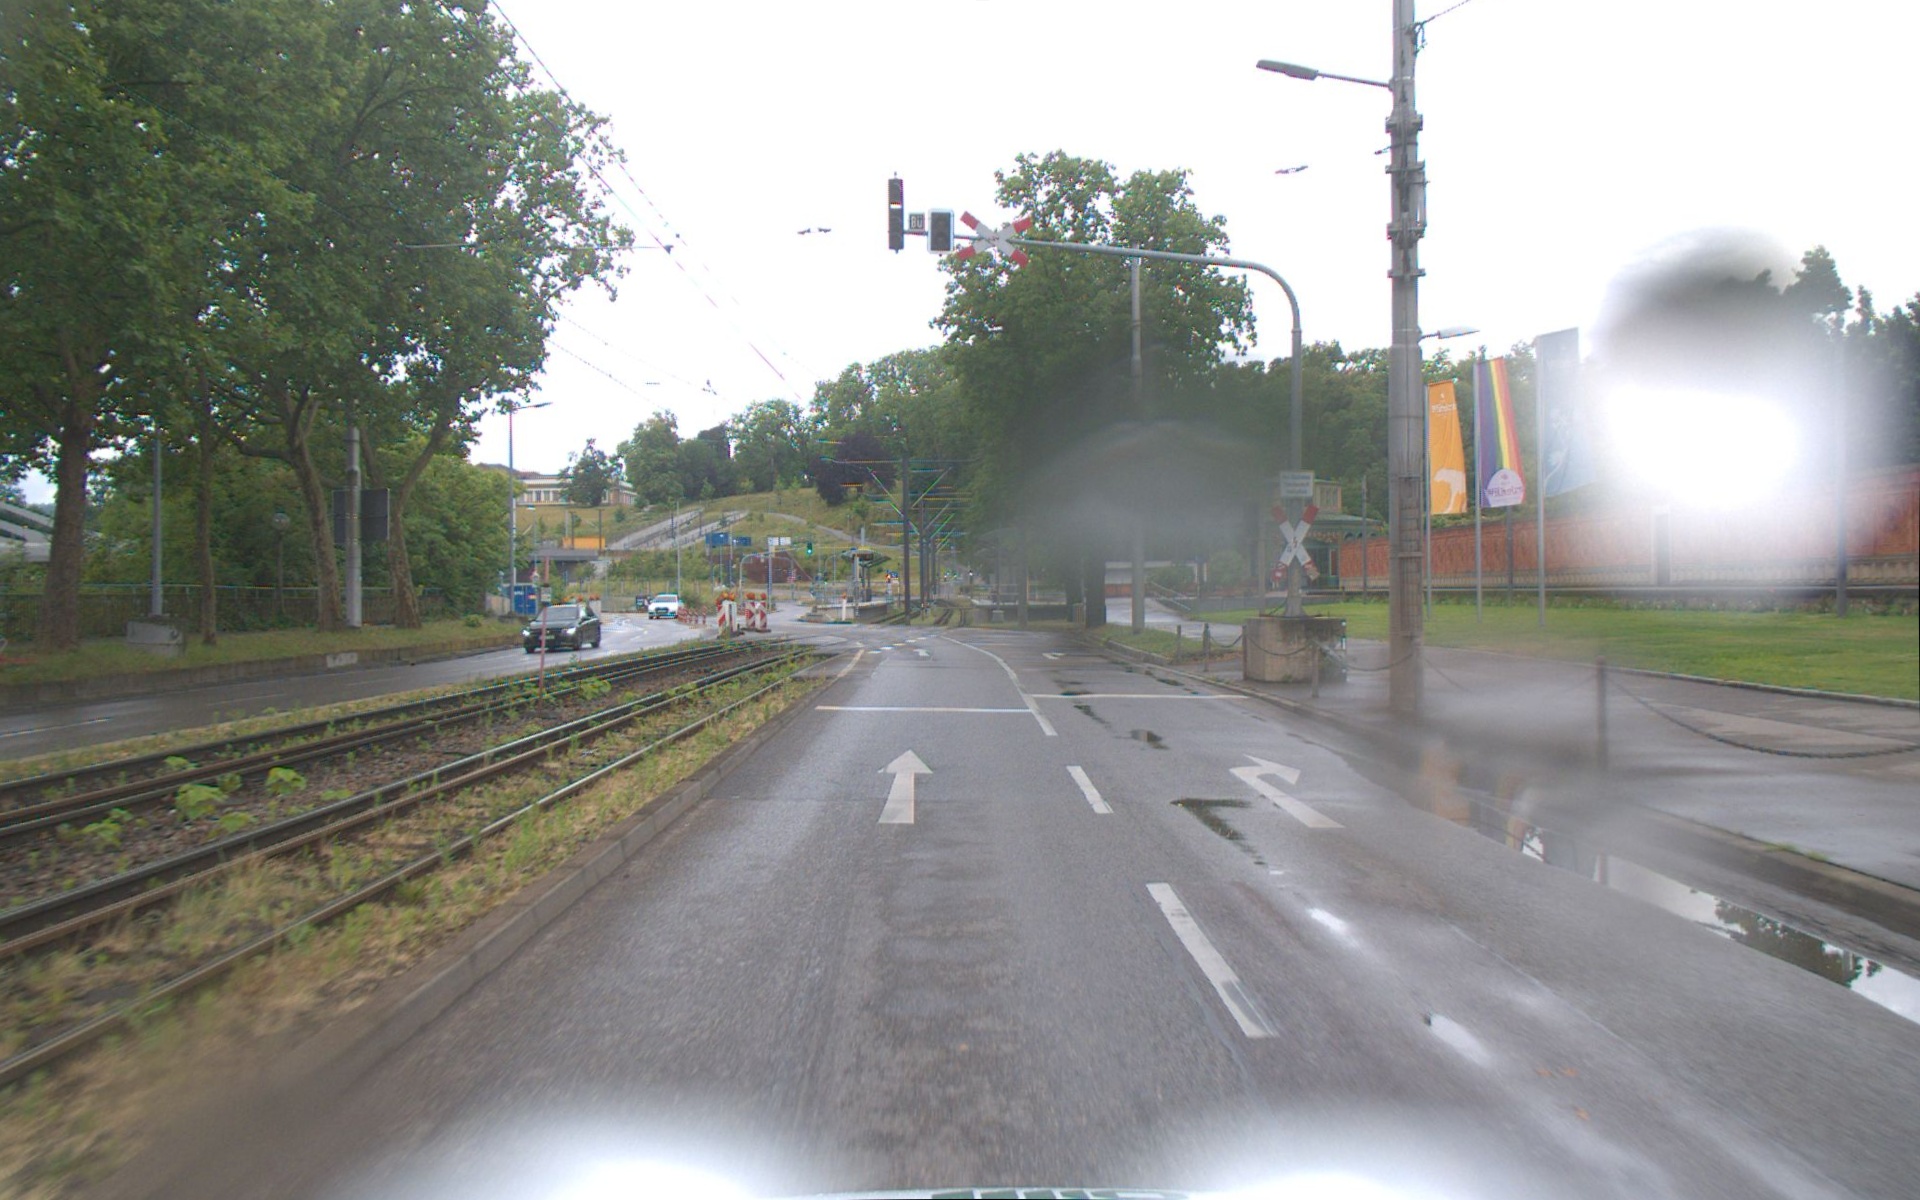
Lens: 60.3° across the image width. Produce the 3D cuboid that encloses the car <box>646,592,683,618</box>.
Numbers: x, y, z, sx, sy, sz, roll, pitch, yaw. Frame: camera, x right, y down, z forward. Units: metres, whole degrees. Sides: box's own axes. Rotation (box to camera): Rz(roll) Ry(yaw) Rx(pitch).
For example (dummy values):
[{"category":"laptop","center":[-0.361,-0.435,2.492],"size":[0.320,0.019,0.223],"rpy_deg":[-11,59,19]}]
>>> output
[{"category":"car","center":[-18.169,0.292,101.817],"size":[1.675,1.525,4.716],"rpy_deg":[-2,1,-4]}]

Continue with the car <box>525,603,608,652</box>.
[{"category":"car","center":[-12.880,0.868,54.377],"size":[1.711,1.454,4.559],"rpy_deg":[-2,0,-1]}]

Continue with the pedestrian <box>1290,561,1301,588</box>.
[{"category":"pedestrian","center":[21.064,-1.580,103.842],"size":[0.540,1.686,0.468],"rpy_deg":[-1,-1,34]}]

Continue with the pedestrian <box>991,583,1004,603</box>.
[{"category":"pedestrian","center":[2.162,-0.408,96.332],"size":[0.590,1.138,0.518],"rpy_deg":[3,-1,-16]}]

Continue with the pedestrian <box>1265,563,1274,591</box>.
[{"category":"pedestrian","center":[19.618,-1.466,104.749],"size":[0.520,1.741,0.696],"rpy_deg":[1,-2,11]}]
